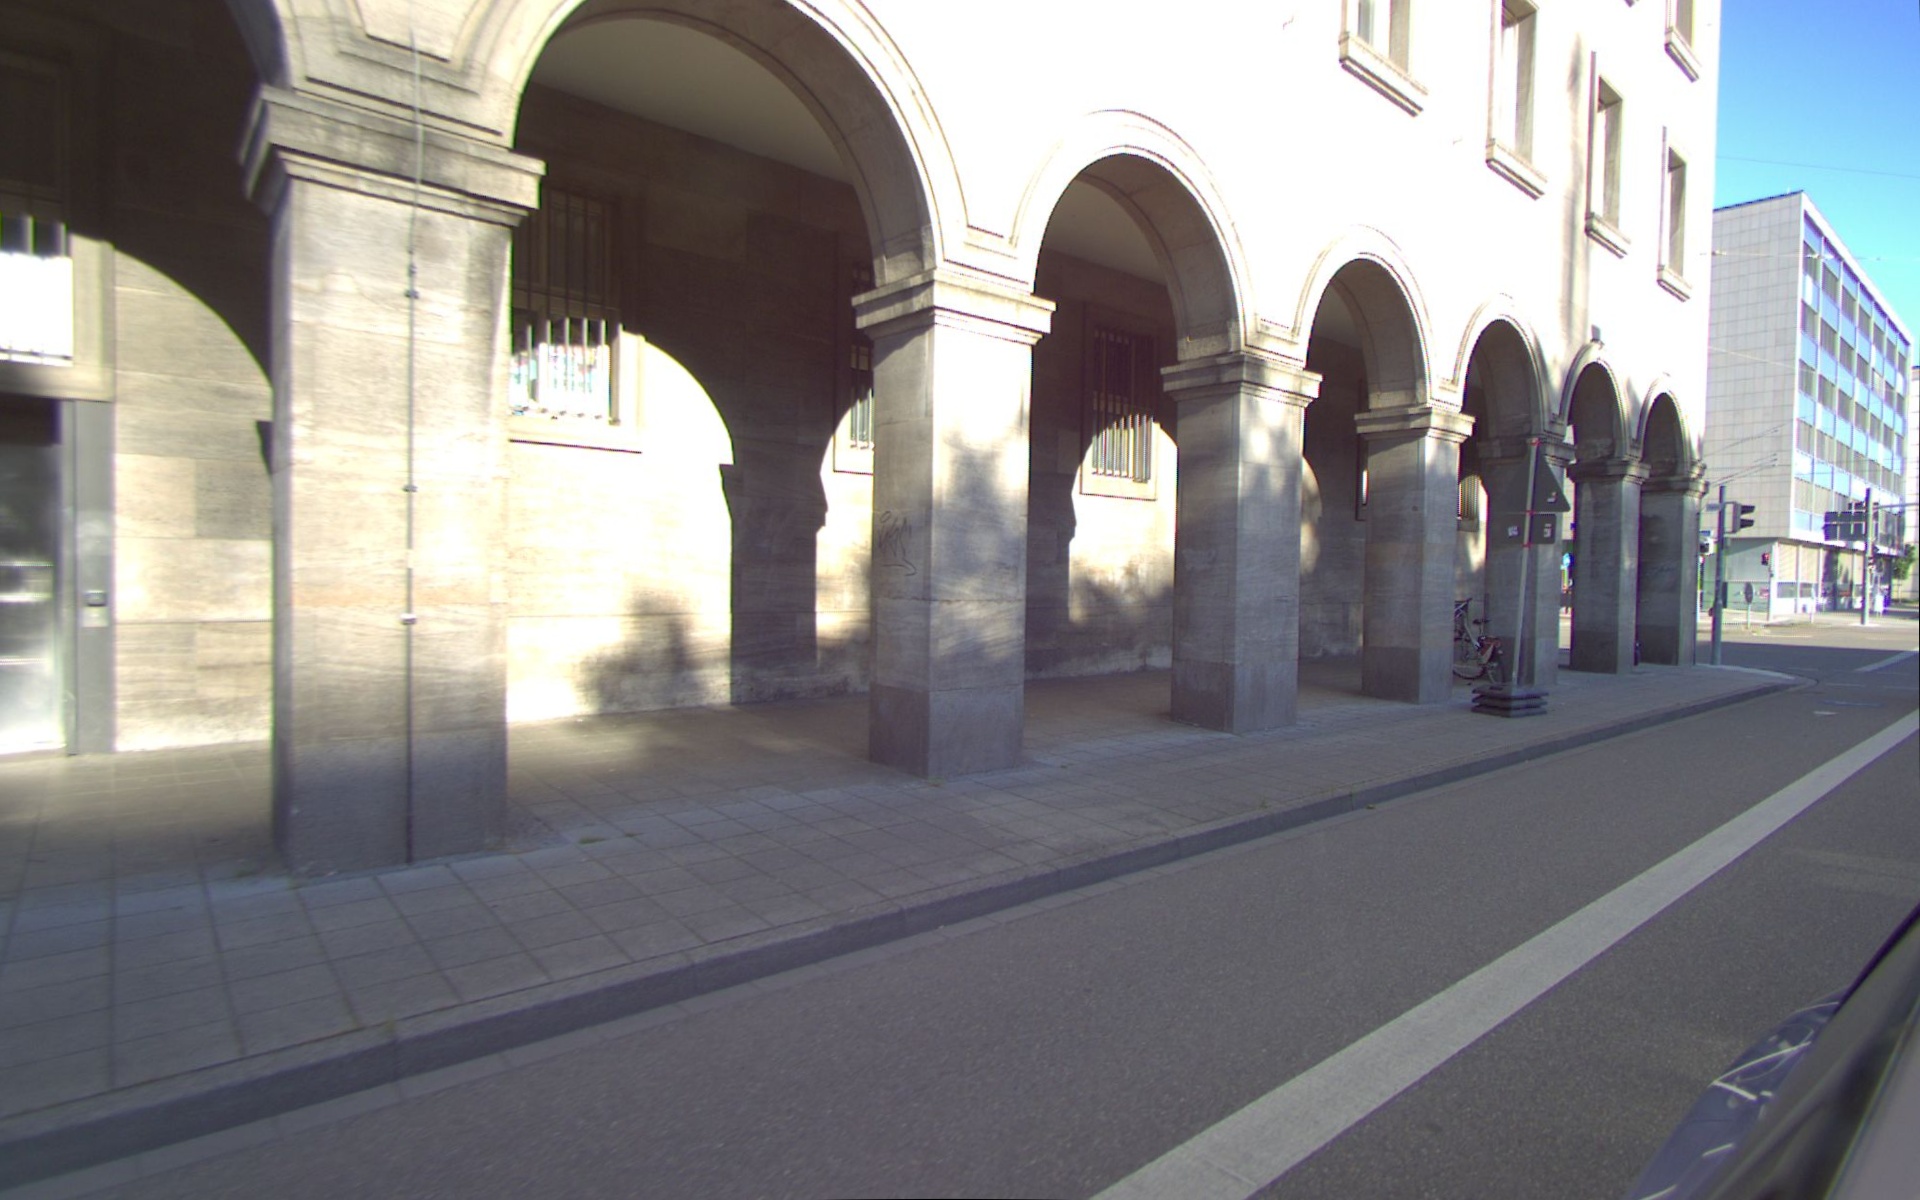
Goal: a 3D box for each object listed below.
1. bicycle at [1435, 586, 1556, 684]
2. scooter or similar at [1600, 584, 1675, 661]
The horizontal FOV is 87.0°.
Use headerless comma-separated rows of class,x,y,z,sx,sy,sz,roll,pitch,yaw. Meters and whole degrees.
bicycle,7.147,0.436,13.602,0.651,1.147,1.714,2,3,0
scooter or similar,11.989,0.379,17.948,0.632,1.238,1.259,3,4,15
